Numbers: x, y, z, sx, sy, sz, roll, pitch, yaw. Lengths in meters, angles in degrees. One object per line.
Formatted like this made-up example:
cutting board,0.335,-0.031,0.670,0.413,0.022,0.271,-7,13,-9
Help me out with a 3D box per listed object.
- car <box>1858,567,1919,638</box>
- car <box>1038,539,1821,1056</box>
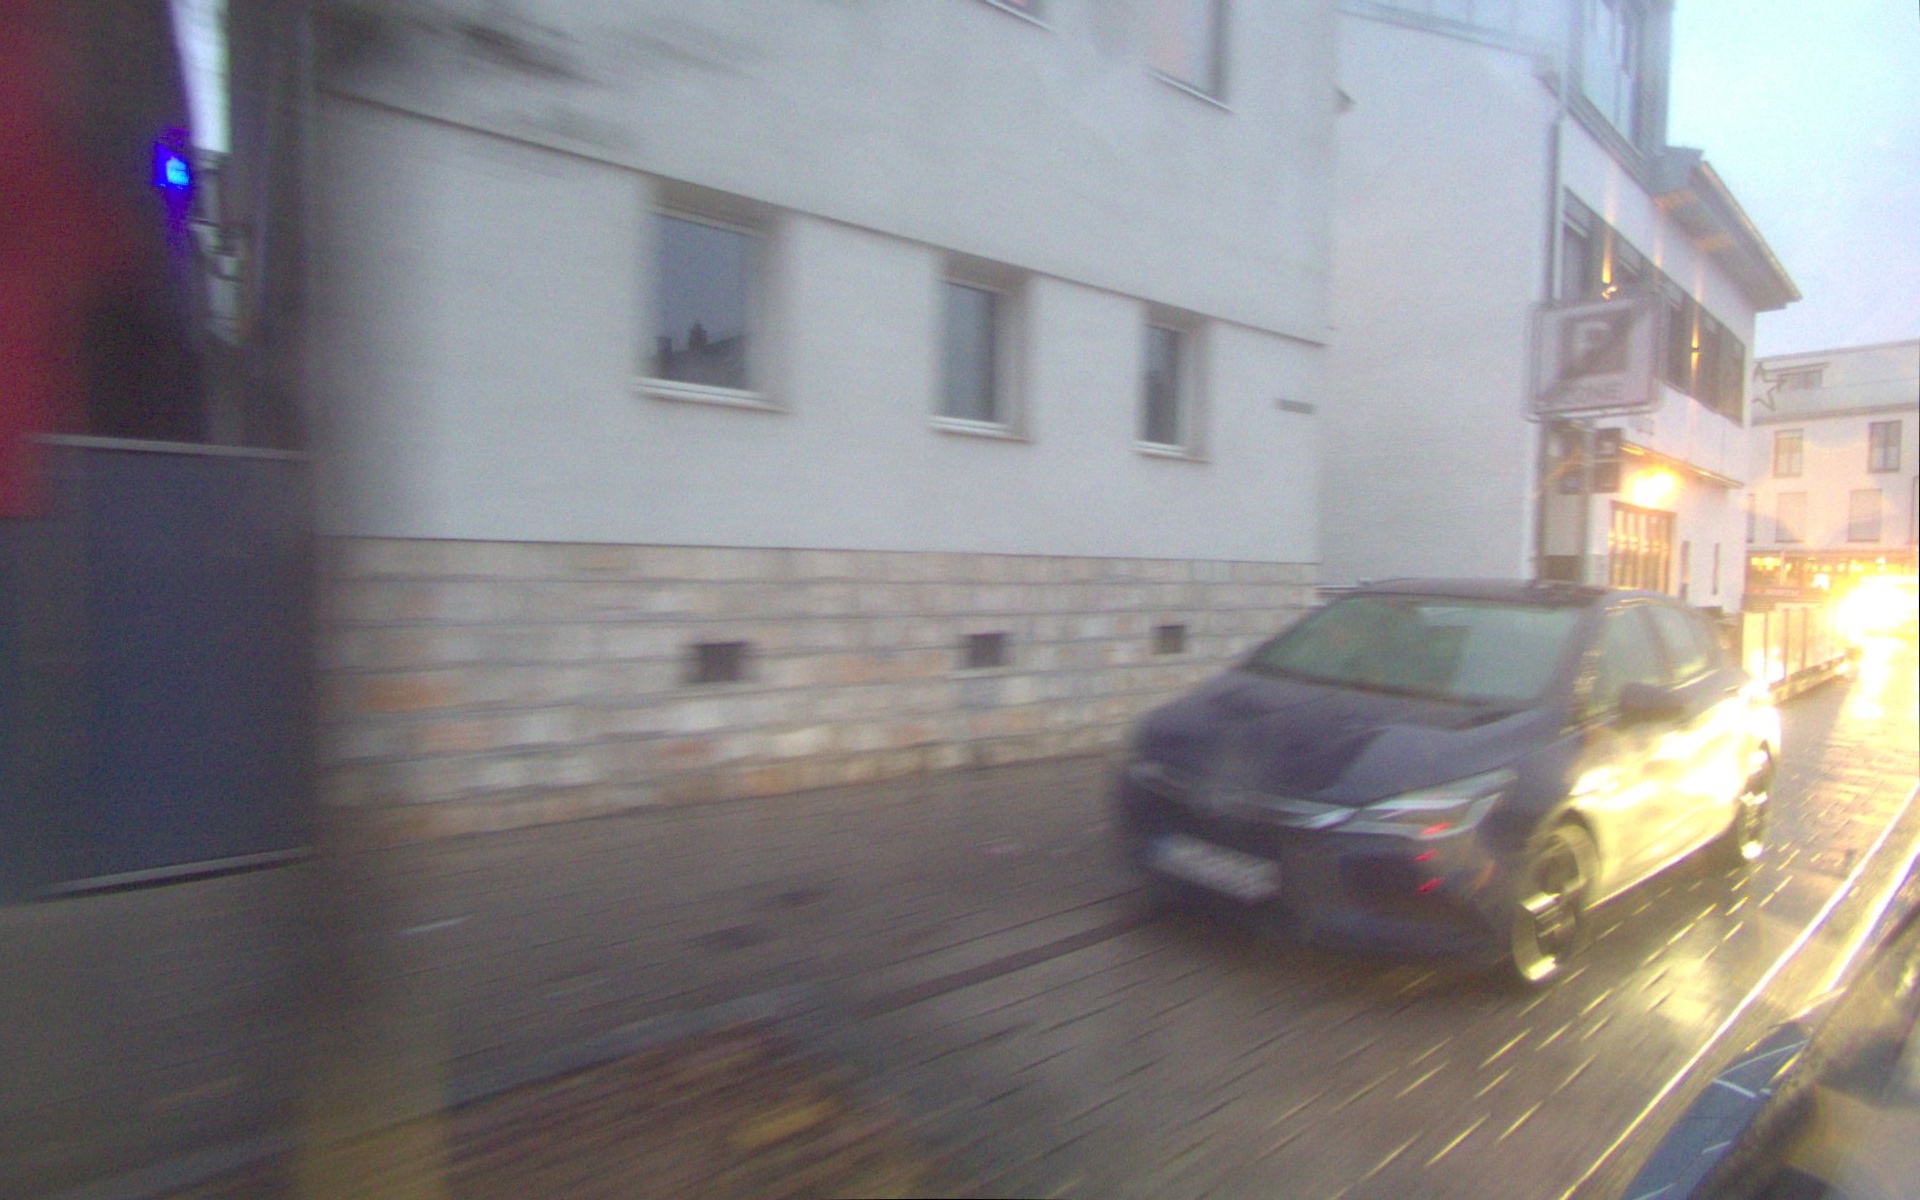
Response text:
car,26.176,0.024,27.807,1.815,1.767,3.950,-1,2,36
car,2.509,0.553,4.939,4.122,1.482,1.734,0,4,-38
